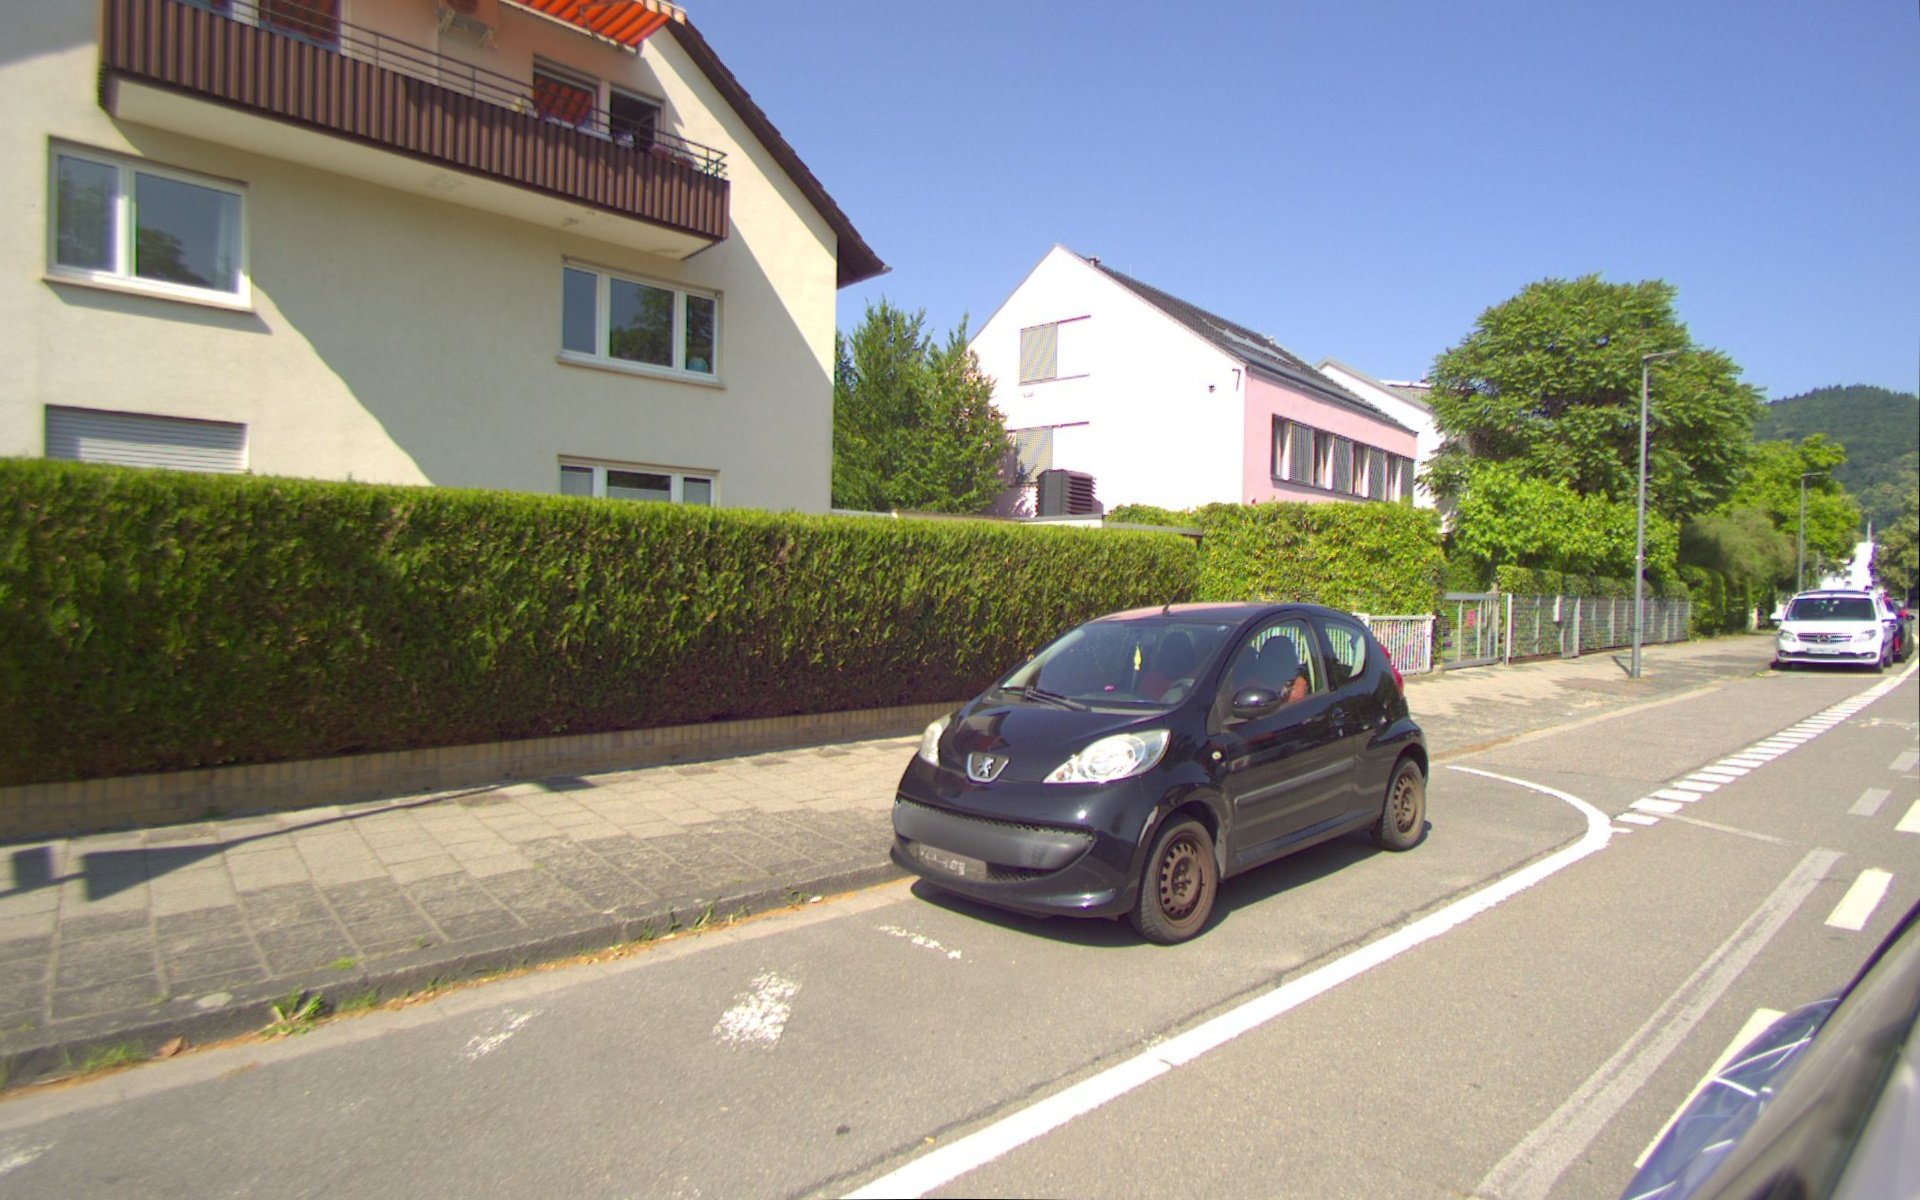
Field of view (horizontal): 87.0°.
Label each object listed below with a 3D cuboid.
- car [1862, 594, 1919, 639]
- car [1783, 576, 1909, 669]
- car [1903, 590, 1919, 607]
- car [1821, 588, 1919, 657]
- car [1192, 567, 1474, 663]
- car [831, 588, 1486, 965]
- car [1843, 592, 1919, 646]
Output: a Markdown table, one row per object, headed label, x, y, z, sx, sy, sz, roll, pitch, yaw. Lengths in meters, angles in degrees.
| label | x | y | z | sx | sy | sz | roll | pitch | yaw |
| --- | --- | --- | --- | --- | --- | --- | --- | --- | --- |
| car | 33.424 | 0.580 | 35.980 | 1.812 | 1.482 | 4.711 | -2 | -2 | 44 |
| car | 19.697 | 0.429 | 22.431 | 4.524 | 1.850 | 1.763 | -1 | 0 | -45 |
| car | 108.411 | -0.174 | 114.552 | 1.997 | 1.836 | 4.698 | 3 | 2 | 39 |
| car | 23.586 | 0.534 | 26.077 | 4.242 | 1.613 | 1.763 | 1 | 1 | -45 |
| car | 7.471 | 0.211 | 20.712 | 1.946 | 1.727 | 5.091 | 0 | 1 | -44 |
| car | 1.357 | 0.667 | 5.741 | 3.932 | 1.408 | 1.618 | -1 | -1 | -43 |
| car | 27.551 | 0.533 | 30.191 | 1.761 | 1.461 | 4.007 | 3 | 2 | 41 |
